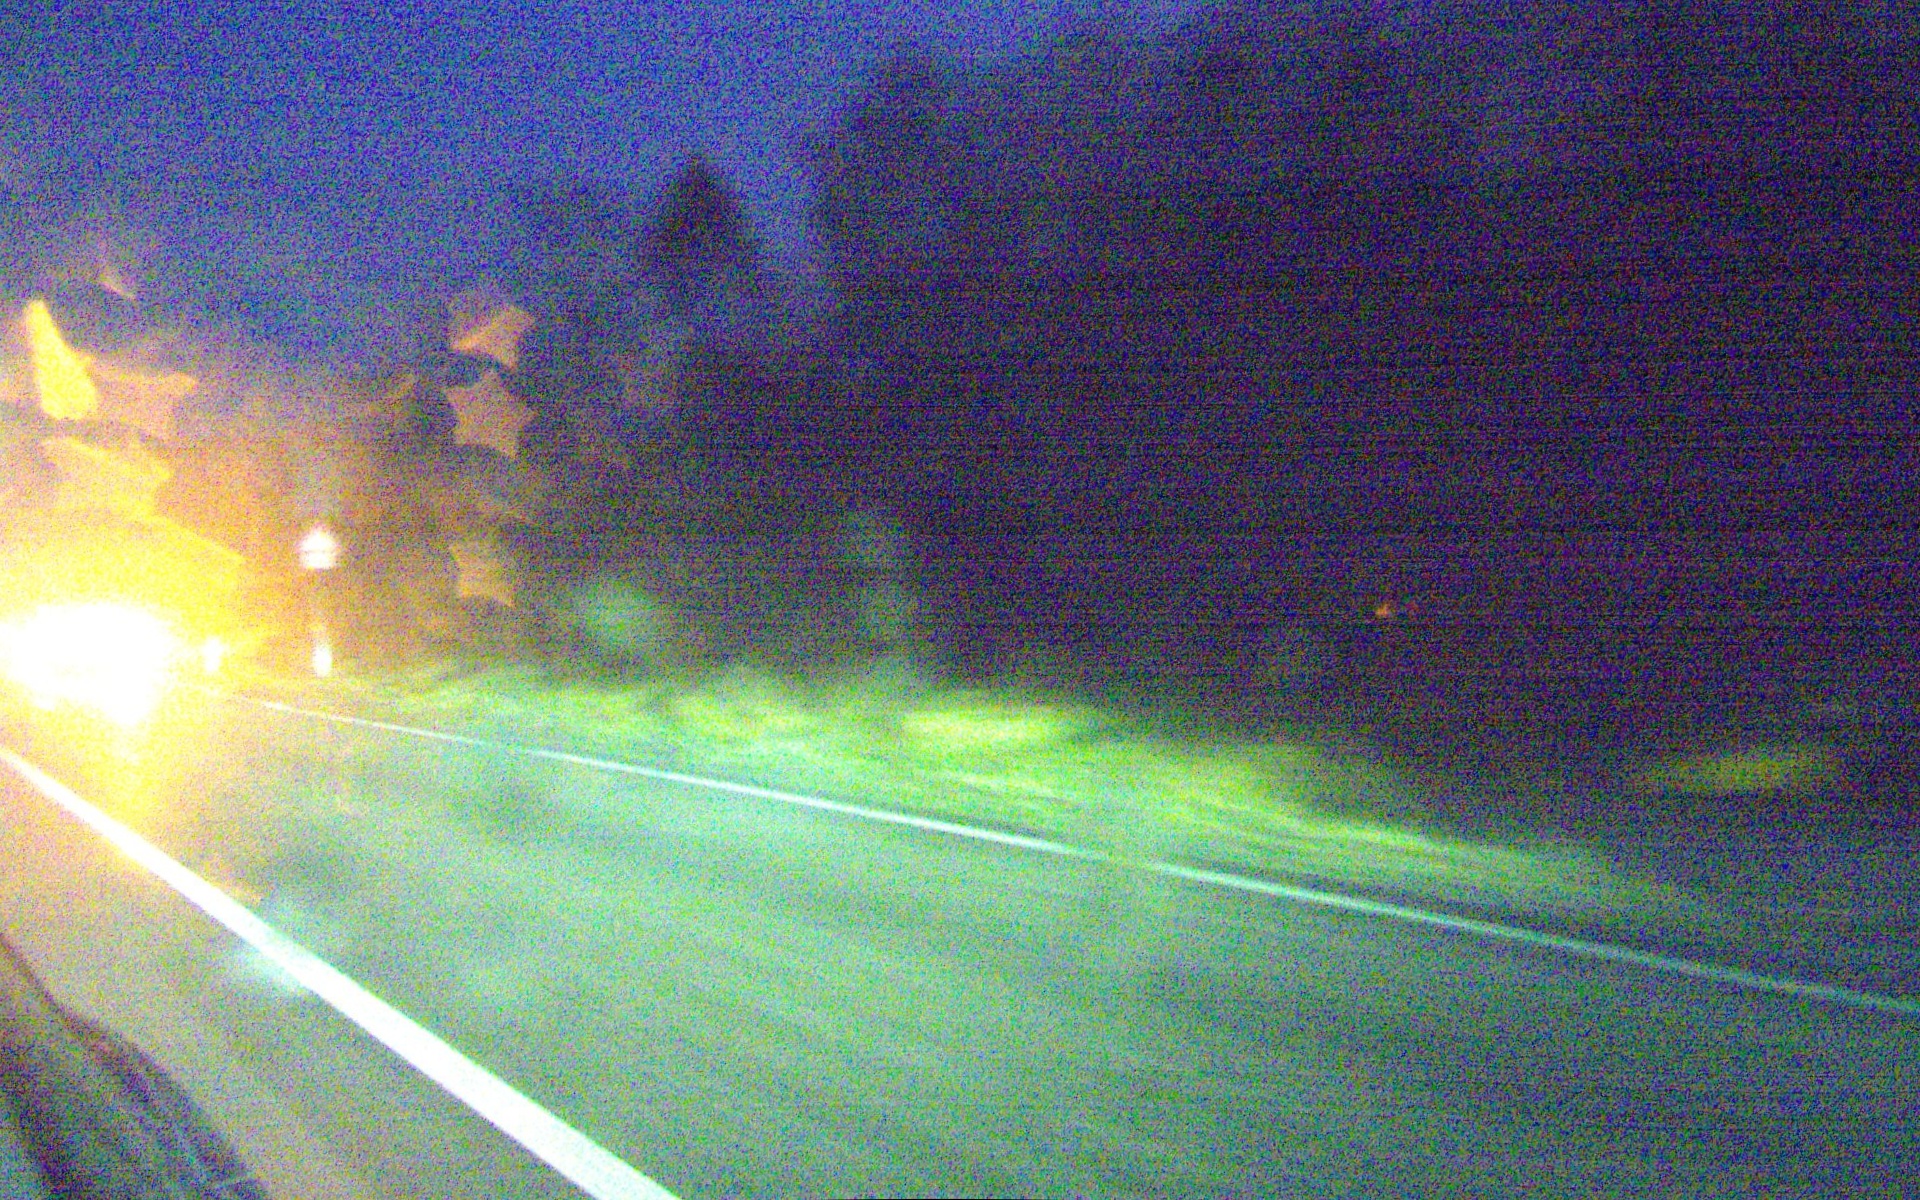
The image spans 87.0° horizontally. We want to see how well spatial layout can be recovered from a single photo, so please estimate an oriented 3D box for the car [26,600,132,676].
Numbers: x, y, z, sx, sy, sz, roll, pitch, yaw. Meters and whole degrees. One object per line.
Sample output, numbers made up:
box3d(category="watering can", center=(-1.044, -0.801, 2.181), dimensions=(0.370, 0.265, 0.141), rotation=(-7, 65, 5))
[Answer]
box3d(category="car", center=(-24.006, 0.967, 27.527), dimensions=(1.970, 1.874, 4.445), rotation=(0, -1, -44))
